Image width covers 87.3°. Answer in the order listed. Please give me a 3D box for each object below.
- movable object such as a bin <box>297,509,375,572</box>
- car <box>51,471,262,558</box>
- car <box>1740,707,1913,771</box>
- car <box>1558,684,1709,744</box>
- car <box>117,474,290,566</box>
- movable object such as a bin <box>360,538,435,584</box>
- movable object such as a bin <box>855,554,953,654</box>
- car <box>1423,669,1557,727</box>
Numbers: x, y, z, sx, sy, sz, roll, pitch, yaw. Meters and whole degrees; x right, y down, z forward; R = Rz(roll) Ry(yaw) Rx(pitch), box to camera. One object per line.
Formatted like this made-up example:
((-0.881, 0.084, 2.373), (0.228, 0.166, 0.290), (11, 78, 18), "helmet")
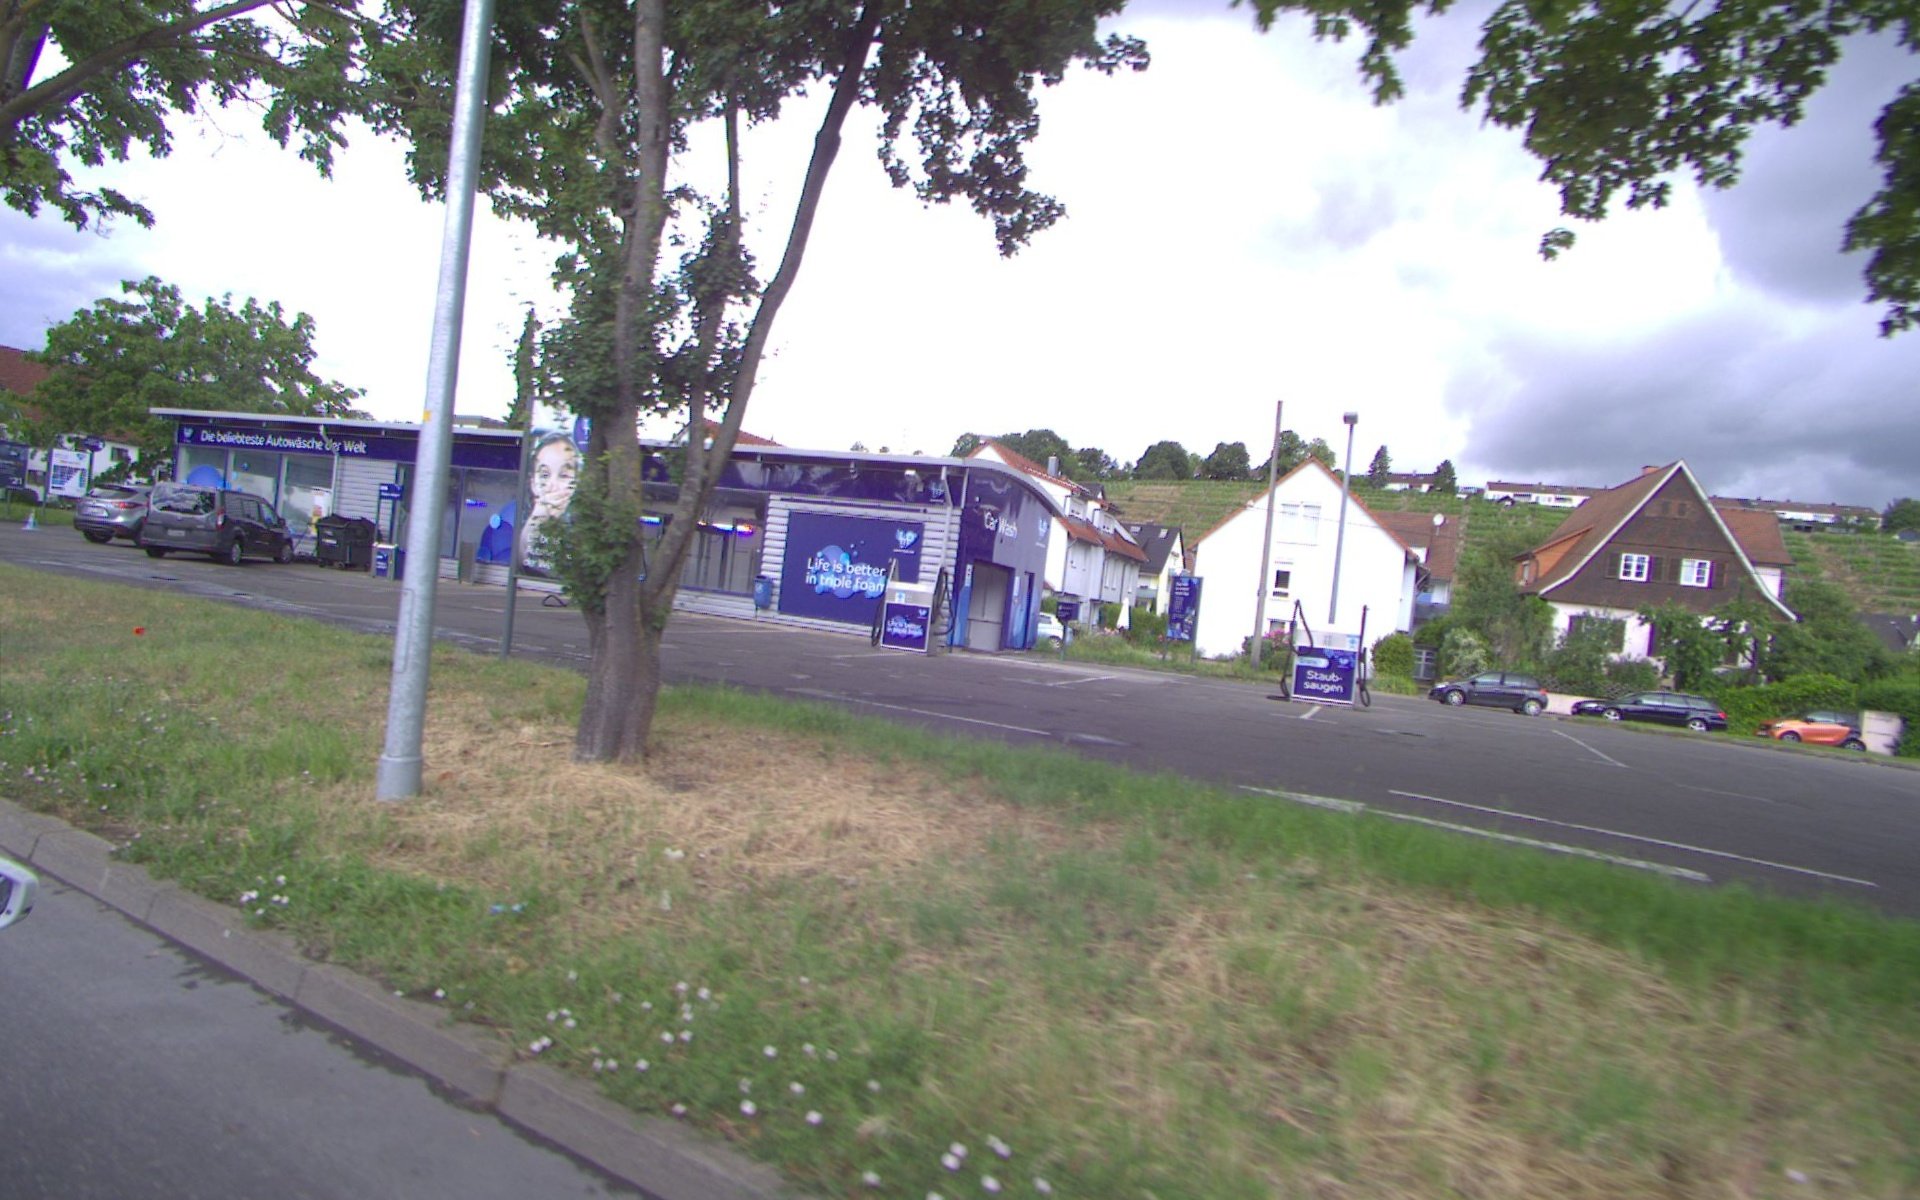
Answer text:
((-17.122, -1.635, 27.625), (1.362, 1.493, 1.161), (7, 1, 24), "movable object such as a bin")
((-21.766, -2.257, 27.498), (1.805, 1.718, 4.214), (8, 0, 11), "car")
((29.643, 4.722, 34.563), (3.924, 1.480, 2.003), (8, -2, 16), "car")
((23.938, 4.026, 35.942), (3.924, 1.480, 2.003), (8, -2, 16), "car")
((-18.659, -1.884, 25.075), (1.724, 1.844, 4.371), (7, 0, -14), "car")
((-14.557, -1.004, 26.070), (1.167, 0.988, 1.161), (7, 0, 24), "movable object such as a bin")
((-1.138, 0.095, 20.529), (1.429, 1.841, 1.161), (7, 1, 24), "movable object such as a bin")
((19.539, 3.610, 37.263), (3.924, 1.480, 2.003), (8, -2, 16), "car")
